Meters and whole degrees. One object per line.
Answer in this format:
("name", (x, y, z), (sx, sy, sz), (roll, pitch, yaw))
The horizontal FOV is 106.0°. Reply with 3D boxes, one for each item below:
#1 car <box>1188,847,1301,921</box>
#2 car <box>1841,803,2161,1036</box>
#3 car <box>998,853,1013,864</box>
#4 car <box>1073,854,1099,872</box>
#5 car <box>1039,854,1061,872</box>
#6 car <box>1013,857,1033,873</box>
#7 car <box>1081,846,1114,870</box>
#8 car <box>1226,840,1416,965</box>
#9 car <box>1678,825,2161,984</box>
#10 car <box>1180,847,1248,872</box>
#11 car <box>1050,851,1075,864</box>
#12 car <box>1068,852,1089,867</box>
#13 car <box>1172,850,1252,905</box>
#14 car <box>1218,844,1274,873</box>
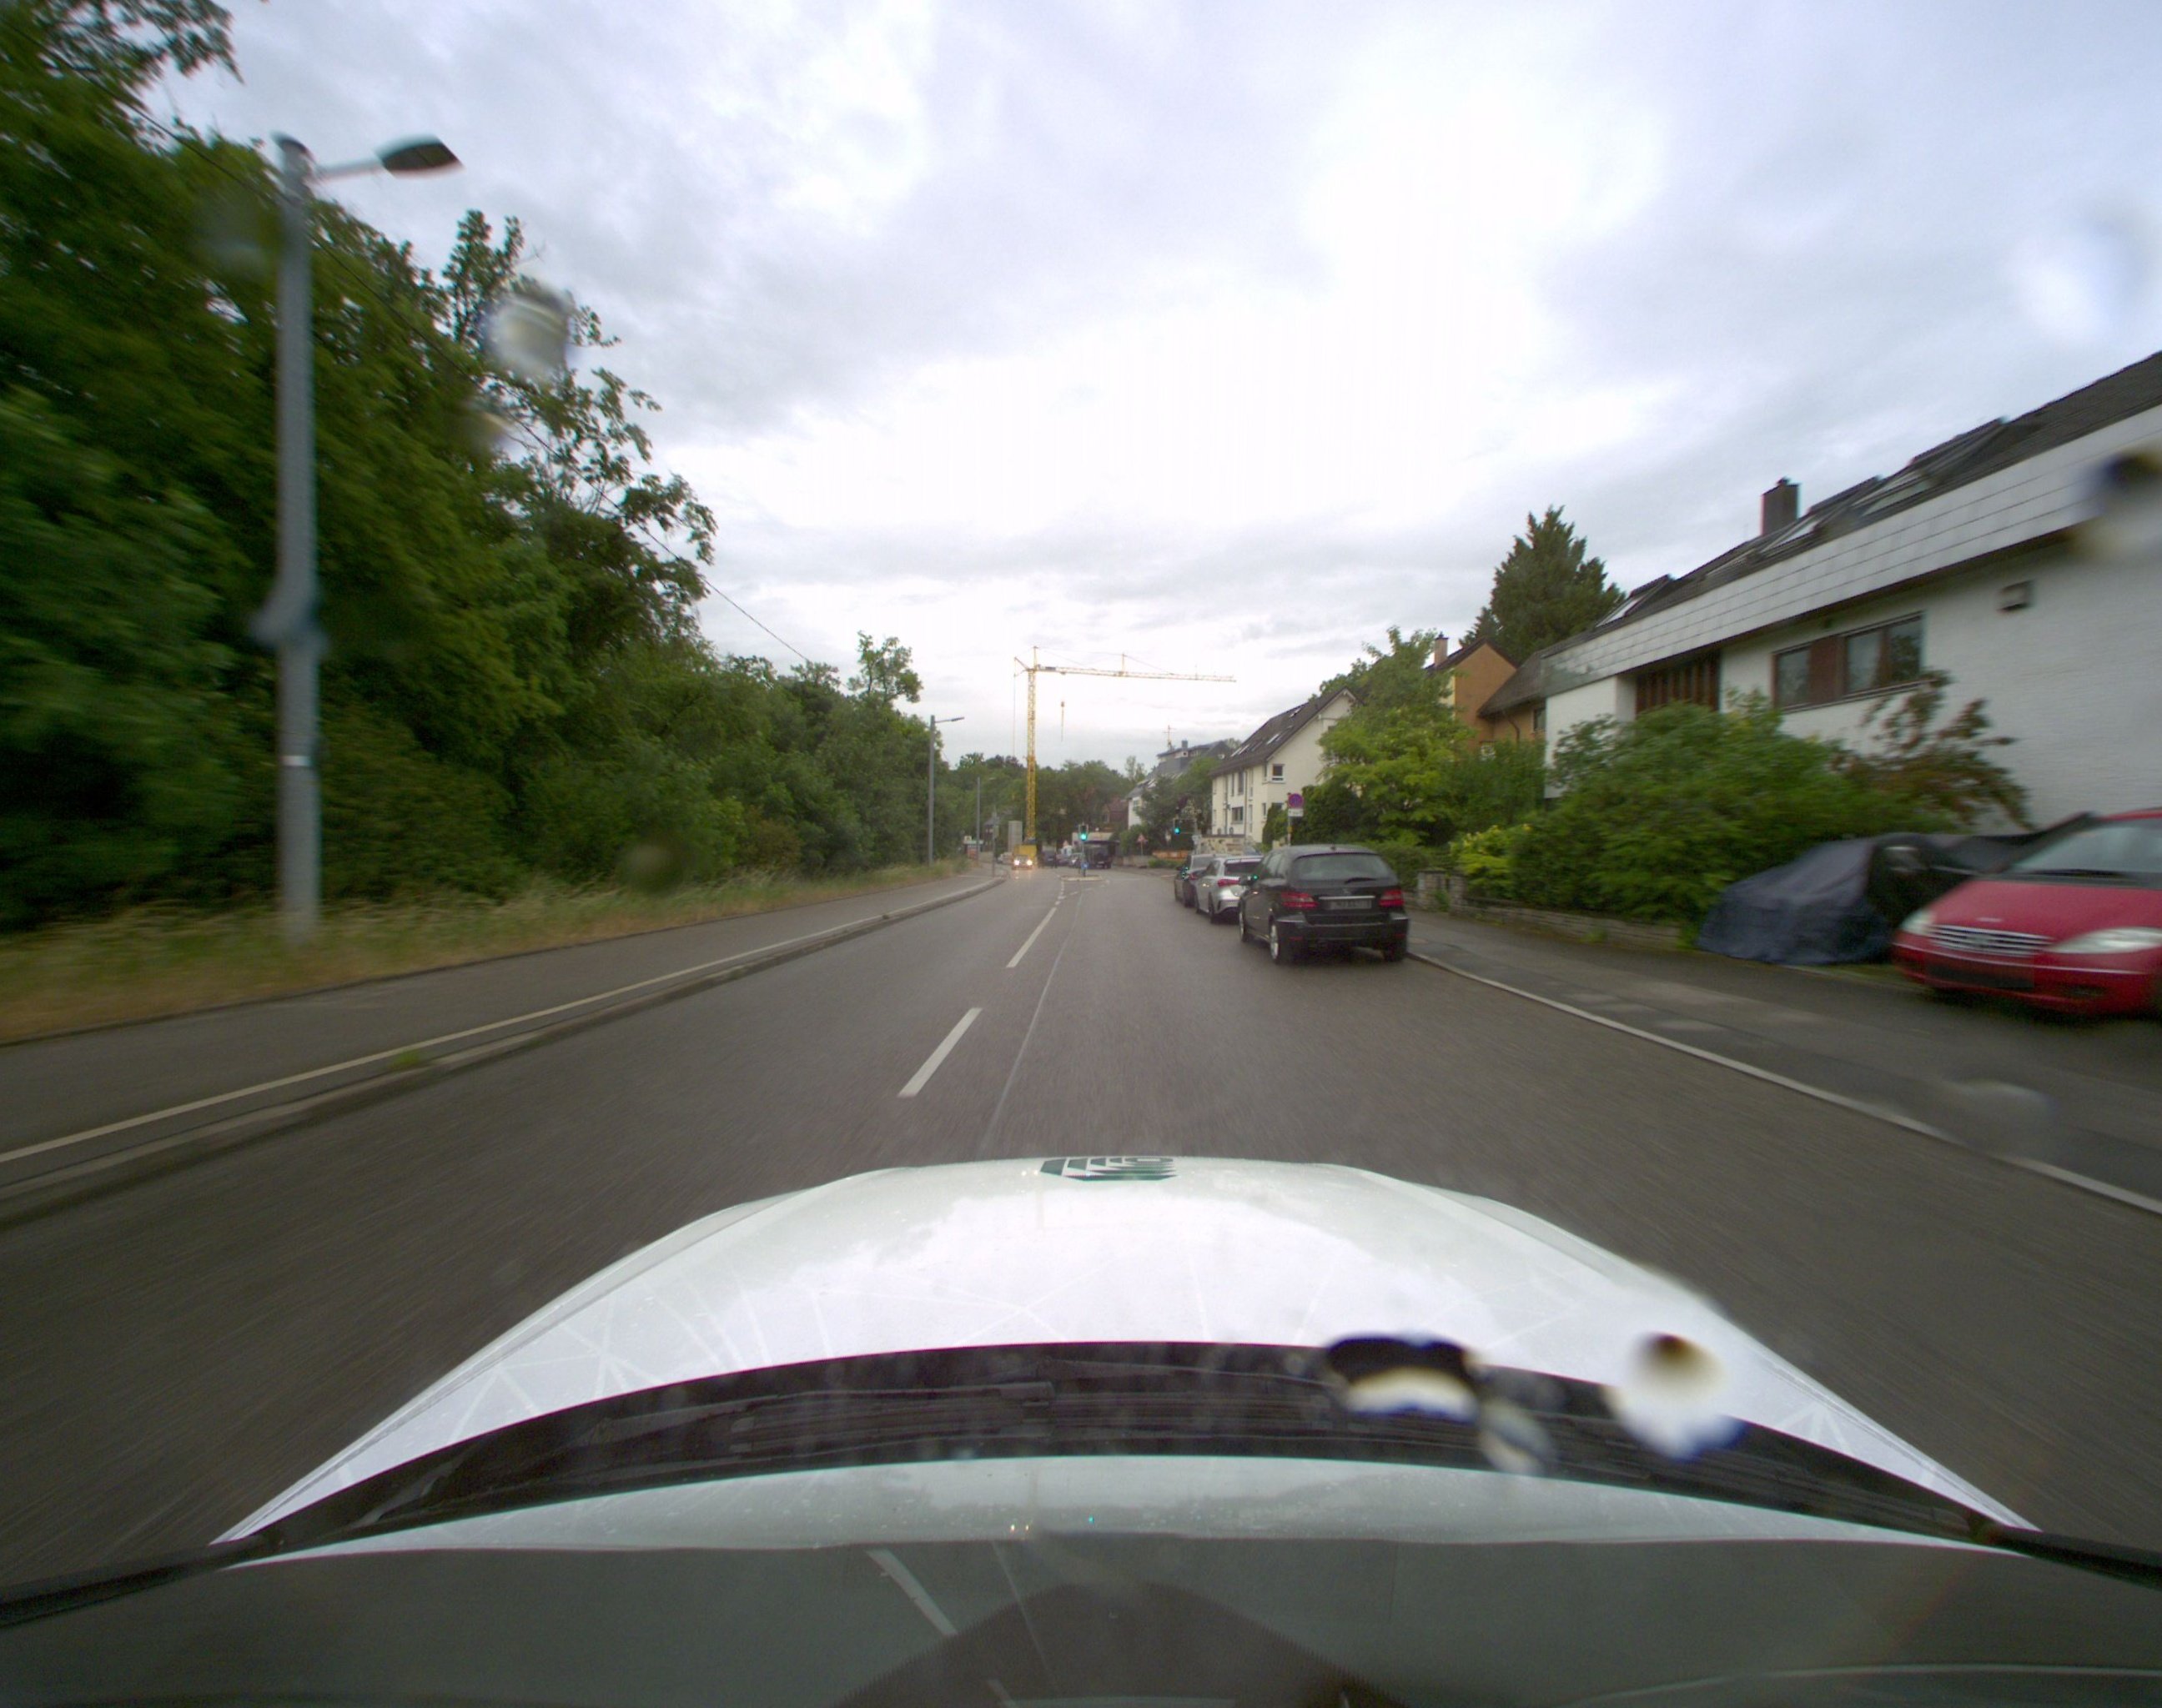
("car", (3.644, 0.643, 18.884), (1.786, 1.487, 4.496), (0, -1, 1))
("car", (8.769, 0.387, 6.474), (3.645, 1.566, 1.883), (-2, 0, 1))
("car", (-12.927, 0.720, 138.460), (1.748, 1.706, 4.478), (-2, 0, -15))
("car", (0.438, 0.892, 78.785), (1.930, 1.596, 4.384), (-3, 0, -7))
("car", (-3.308, 0.915, 85.729), (1.930, 1.751, 3.990), (-1, 0, -8))
("car", (-5.532, 1.011, 78.068), (1.739, 1.460, 4.411), (-1, 0, -2))
("car", (1.417, 0.321, 73.831), (1.994, 2.013, 4.939), (-2, 0, -10))
("car", (3.472, 0.608, 12.676), (1.724, 1.568, 4.524), (-1, 0, 2))
("car", (9.067, 0.481, 8.539), (4.230, 1.461, 1.882), (0, -1, 1))
("car", (9.423, 0.376, 57.871), (4.324, 1.596, 1.987), (2, -1, -7))
("car", (-2.238, 0.417, 97.121), (1.935, 1.422, 4.814), (1, 0, -14))
("car", (-0.275, 0.593, 83.301), (1.673, 1.457, 3.374), (-1, 0, -10))
("car", (3.730, 0.660, 23.889), (1.745, 1.443, 4.602), (0, -1, 2))
("car", (9.721, 0.282, 48.425), (1.930, 1.596, 4.330), (2, -1, -8))
